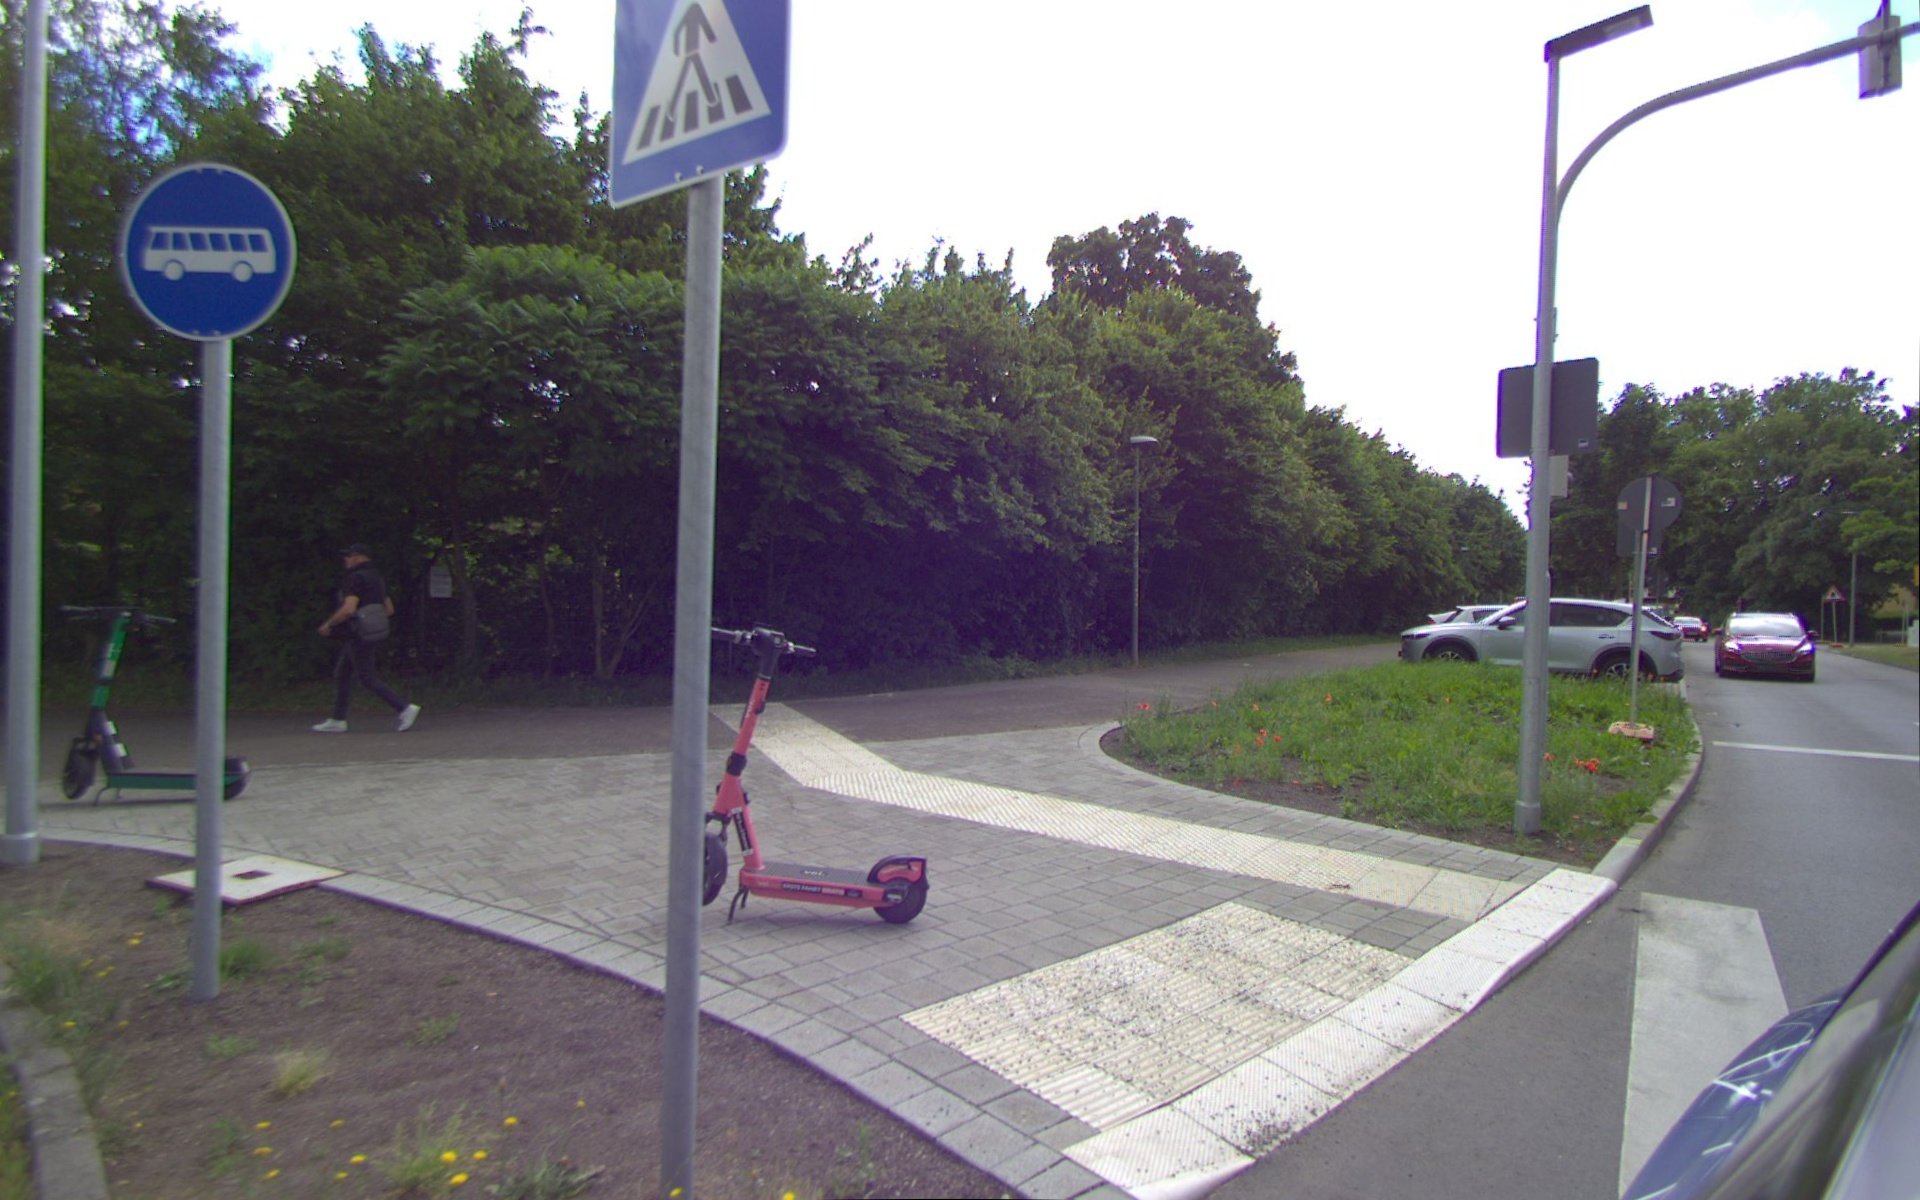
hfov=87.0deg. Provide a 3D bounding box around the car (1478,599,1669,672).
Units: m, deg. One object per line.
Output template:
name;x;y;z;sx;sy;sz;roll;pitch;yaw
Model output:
car;16.203;0.889;26.819;4.140;1.611;1.653;3;1;38

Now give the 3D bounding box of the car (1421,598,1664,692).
car;11.927;0.850;20.861;4.141;1.606;1.774;3;1;35

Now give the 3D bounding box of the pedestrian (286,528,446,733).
pedestrian;-5.652;0.269;9.668;0.969;1.845;0.854;1;0;11

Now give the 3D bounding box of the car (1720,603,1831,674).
car;20.598;0.905;25.718;1.922;1.652;4.188;0;0;35

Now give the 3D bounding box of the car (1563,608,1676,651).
car;28.093;1.246;43.182;3.954;1.754;1.861;-1;-1;35

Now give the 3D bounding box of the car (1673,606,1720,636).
car;43.147;1.200;59.373;1.805;1.638;3.955;3;1;31

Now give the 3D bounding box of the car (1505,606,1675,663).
car;19.208;1.008;30.992;4.267;1.427;1.815;3;1;35

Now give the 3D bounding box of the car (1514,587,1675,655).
car;20.569;0.651;32.933;4.267;1.916;1.815;3;1;35

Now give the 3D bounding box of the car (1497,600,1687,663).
car;17.789;0.826;28.587;4.385;1.453;1.919;3;1;36

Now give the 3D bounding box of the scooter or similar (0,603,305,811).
scooter or similar;-5.311;0.669;6.737;1.464;1.291;0.623;0;0;-10

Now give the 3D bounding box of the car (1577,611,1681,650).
car;31.177;1.378;47.229;3.954;1.754;1.861;-1;-1;35

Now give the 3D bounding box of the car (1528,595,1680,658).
car;23.634;0.915;37.287;4.536;1.922;1.861;4;1;35

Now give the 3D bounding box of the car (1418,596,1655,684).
car;13.006;0.830;22.982;4.463;1.581;1.888;4;1;35

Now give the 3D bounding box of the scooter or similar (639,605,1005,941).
scooter or similar;-0.569;0.708;4.484;1.498;1.329;0.572;1;0;5

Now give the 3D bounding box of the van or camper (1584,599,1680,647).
van or camper;33.931;1.131;51.169;3.954;2.349;1.861;-1;-1;35

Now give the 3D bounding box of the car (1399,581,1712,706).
car;10.721;0.693;18.520;4.630;1.774;2.046;4;1;33
